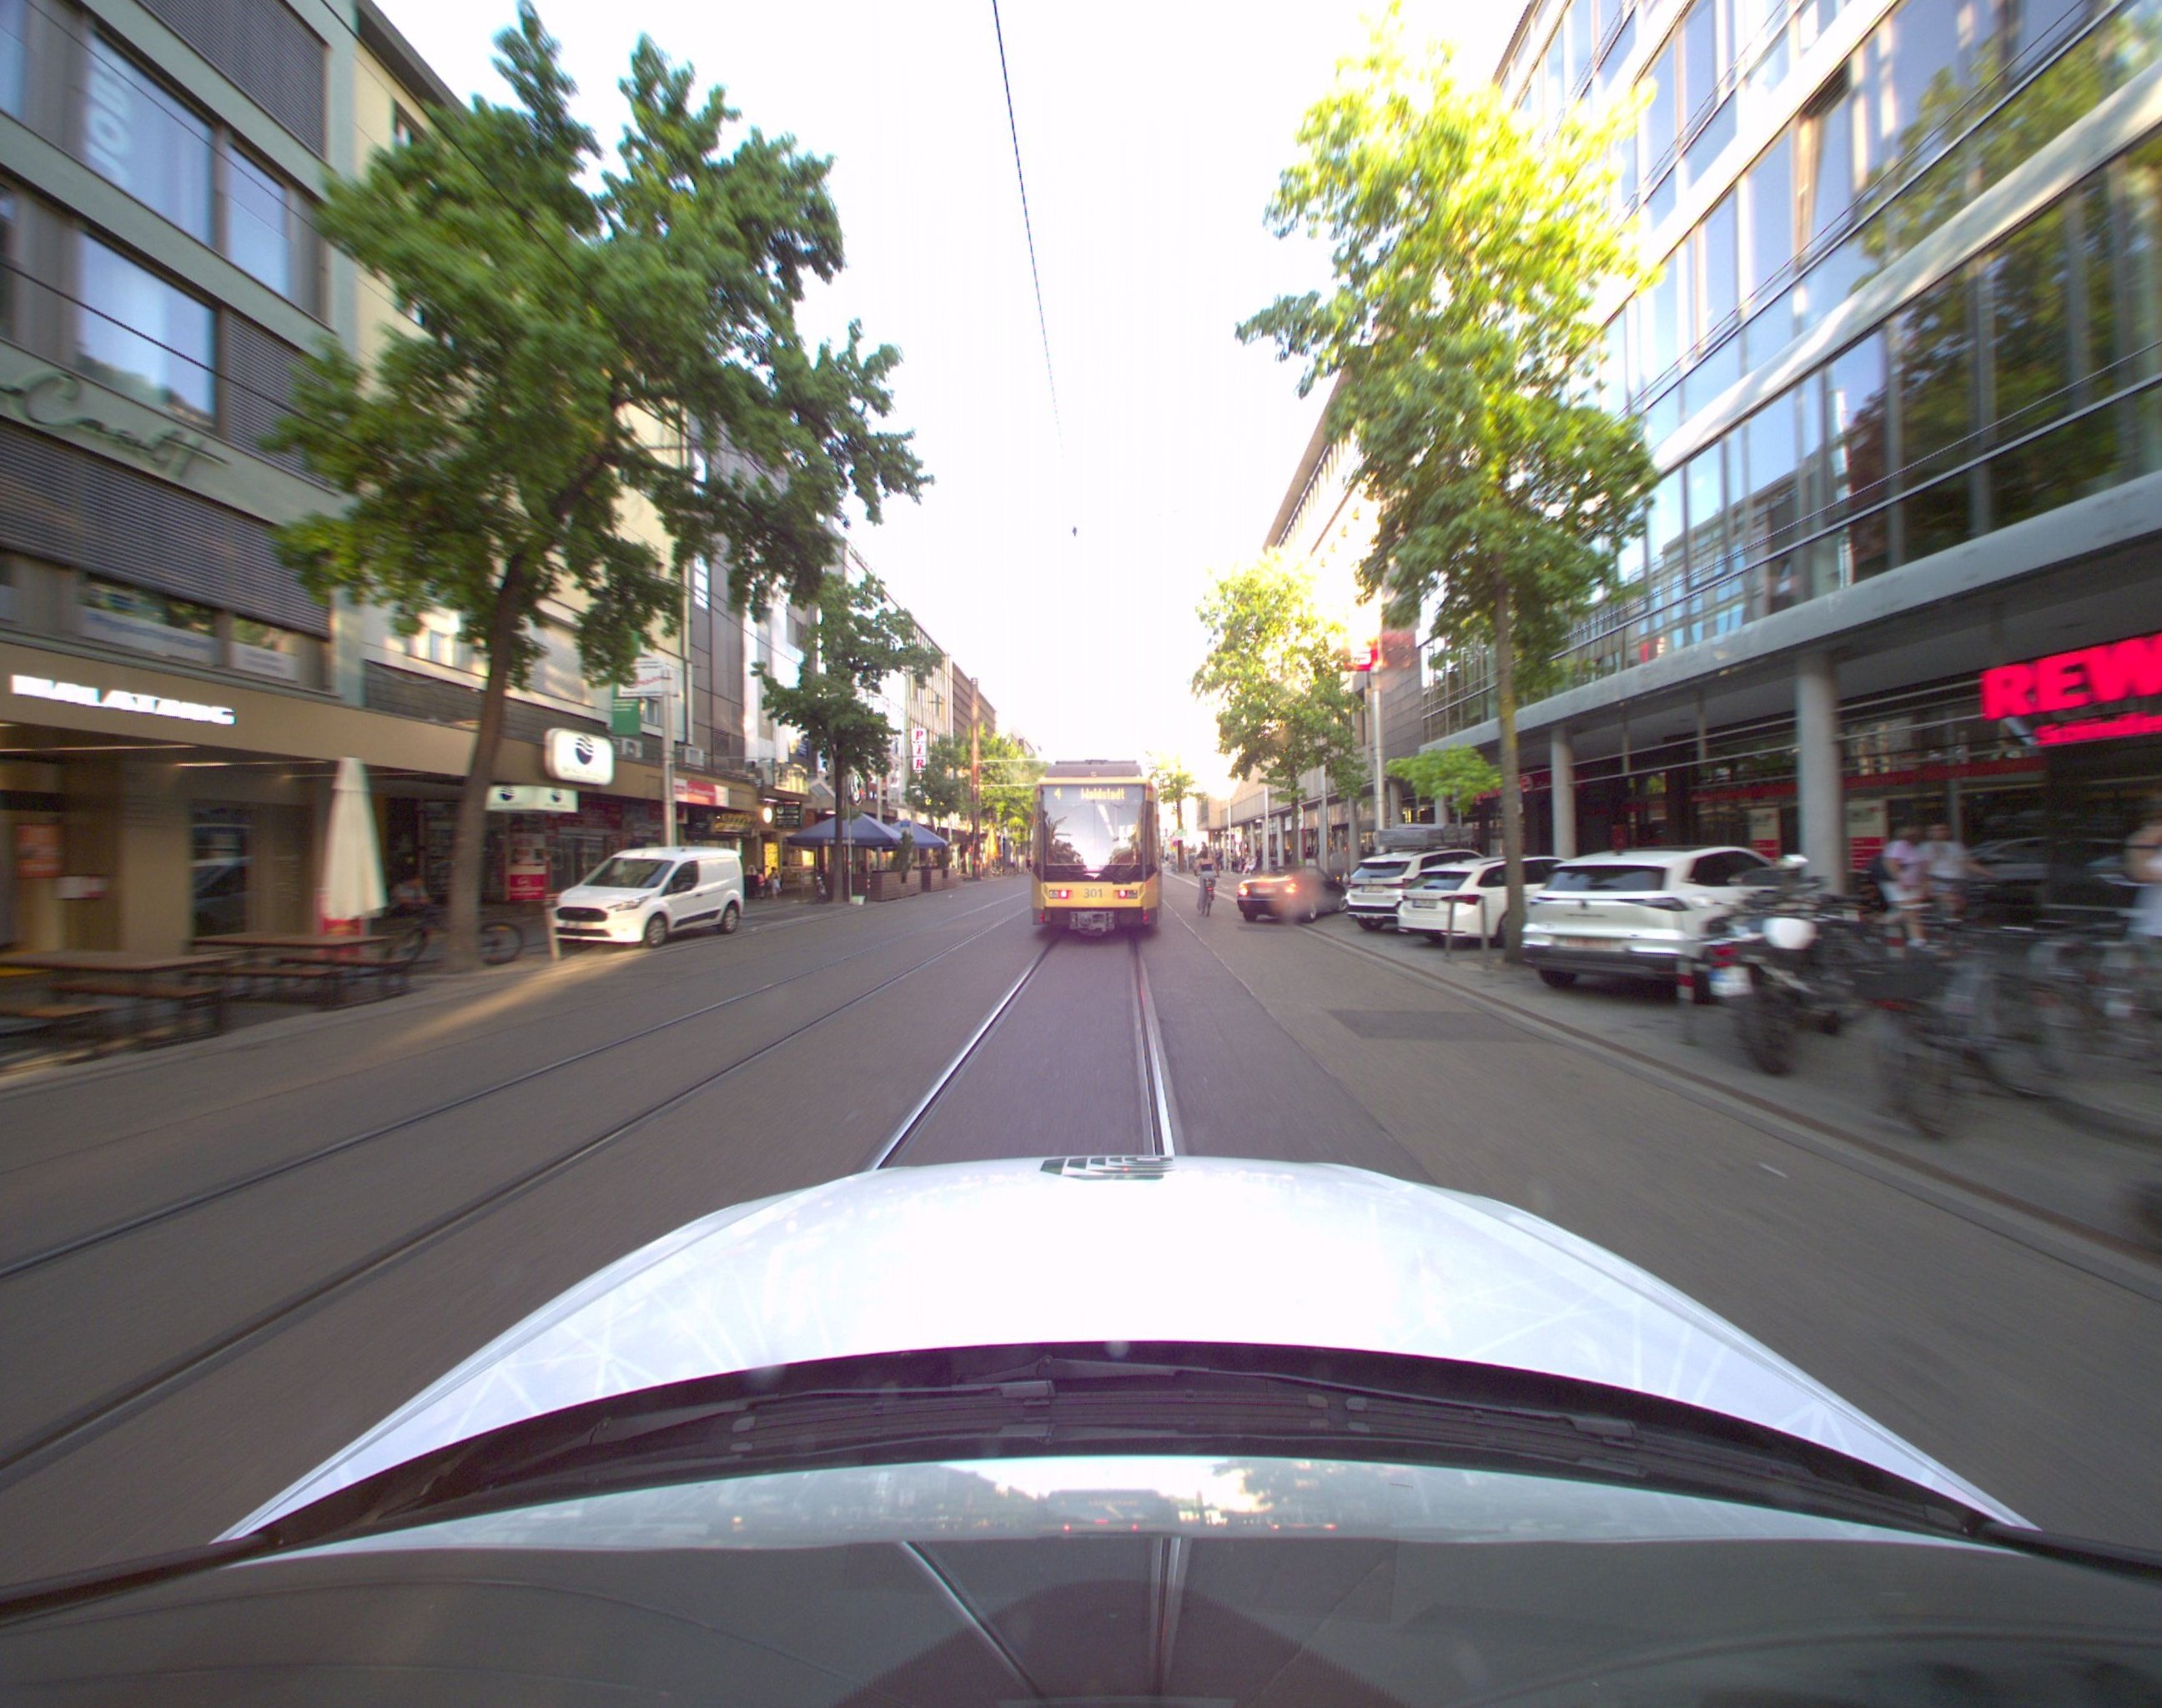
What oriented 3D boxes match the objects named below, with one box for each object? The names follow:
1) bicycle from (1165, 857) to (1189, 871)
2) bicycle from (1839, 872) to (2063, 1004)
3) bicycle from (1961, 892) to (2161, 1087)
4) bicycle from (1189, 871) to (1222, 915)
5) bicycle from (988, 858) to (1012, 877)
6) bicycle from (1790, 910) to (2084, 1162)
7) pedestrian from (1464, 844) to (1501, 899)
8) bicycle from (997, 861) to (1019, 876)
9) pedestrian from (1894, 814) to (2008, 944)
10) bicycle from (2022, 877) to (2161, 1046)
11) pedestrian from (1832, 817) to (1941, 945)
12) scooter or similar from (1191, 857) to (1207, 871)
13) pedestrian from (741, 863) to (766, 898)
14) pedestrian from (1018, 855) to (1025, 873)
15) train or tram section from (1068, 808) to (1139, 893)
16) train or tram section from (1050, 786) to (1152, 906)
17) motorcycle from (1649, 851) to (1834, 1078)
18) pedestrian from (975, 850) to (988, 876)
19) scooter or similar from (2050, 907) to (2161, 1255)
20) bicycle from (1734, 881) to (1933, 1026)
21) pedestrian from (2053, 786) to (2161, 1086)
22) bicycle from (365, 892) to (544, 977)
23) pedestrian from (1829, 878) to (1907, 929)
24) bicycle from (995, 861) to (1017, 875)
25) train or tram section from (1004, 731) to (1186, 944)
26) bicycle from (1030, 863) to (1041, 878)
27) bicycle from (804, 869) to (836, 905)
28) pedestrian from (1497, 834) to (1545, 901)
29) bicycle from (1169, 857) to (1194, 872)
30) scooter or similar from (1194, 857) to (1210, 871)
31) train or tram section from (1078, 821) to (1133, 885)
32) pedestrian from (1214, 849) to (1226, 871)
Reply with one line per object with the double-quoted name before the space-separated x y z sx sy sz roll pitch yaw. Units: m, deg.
"bicycle" 9.921 1.030 84.167 2.322 1.472 0.791 0 -1 -1
"bicycle" 8.693 0.781 8.154 1.751 1.117 0.929 -2 0 -22
"bicycle" 6.895 0.875 5.702 1.601 1.033 0.548 -6 1 -27
"bicycle" 3.285 1.014 21.650 0.653 1.060 2.058 1 0 2
"bicycle" -6.234 1.036 62.849 1.797 1.360 0.658 2 -1 -10
"bicycle" 5.176 0.978 4.912 1.755 1.117 0.799 -2 0 -30
"pedestrian" 12.303 0.524 24.982 0.594 1.616 1.022 -3 1 2
"bicycle" -5.785 1.118 64.601 1.730 1.126 0.612 2 -1 -4
"pedestrian" 11.758 0.332 11.033 0.659 1.699 0.806 0 -1 2
"bicycle" 8.447 0.788 6.469 1.795 1.117 0.837 -3 0 -27
"pedestrian" 11.056 0.368 11.211 0.677 1.699 0.806 0 -1 2
"scooter or similar" 10.965 0.914 75.486 1.377 1.250 0.555 -2 -1 -5
"pedestrian" -11.789 0.948 29.321 0.556 1.258 0.607 1 -1 7
"pedestrian" -5.432 0.915 74.141 0.573 1.687 0.551 2 -1 -7
"train or tram section" 1.143 -0.115 39.859 2.992 3.524 10.849 -1 0 2
"train or tram section" 0.766 -0.216 29.223 2.996 3.524 10.406 0 0 2
"motorcycle" 5.410 0.760 6.603 2.217 1.471 0.786 -3 1 -42
"pedestrian" -8.019 0.727 65.719 0.845 2.014 0.922 0 -1 2
"scooter or similar" 4.741 0.900 3.039 0.700 1.304 1.378 -2 0 -36
"bicycle" 7.065 0.858 7.635 1.756 1.117 0.909 -2 -1 -32
"pedestrian" 6.802 0.483 5.250 0.822 1.812 0.594 -5 1 -36
"bicycle" -9.304 1.157 12.197 0.605 1.068 2.032 -1 0 32
"pedestrian" 12.676 0.782 13.139 0.604 0.782 0.665 -1 -1 5
"bicycle" -6.139 1.159 67.036 1.728 1.126 0.563 2 -1 -2
"train or tram section" 0.408 -0.238 18.838 3.005 3.524 10.374 -1 -1 2
"bicycle" -3.214 1.162 57.855 0.639 1.023 1.589 1 0 0
"bicycle" -8.812 1.096 27.476 0.815 1.103 2.149 -1 0 -23
"pedestrian" 12.271 0.363 22.724 0.874 1.782 0.756 -3 1 2
"bicycle" 9.861 1.028 80.072 2.322 1.472 0.791 0 -1 -1
"scooter or similar" 11.088 0.927 74.590 1.380 1.210 0.513 -2 -1 -11
"train or tram section" 1.536 -0.017 50.534 3.033 3.524 10.535 0 0 2
"pedestrian" 11.129 0.492 65.211 0.885 1.782 0.751 0 -1 1
